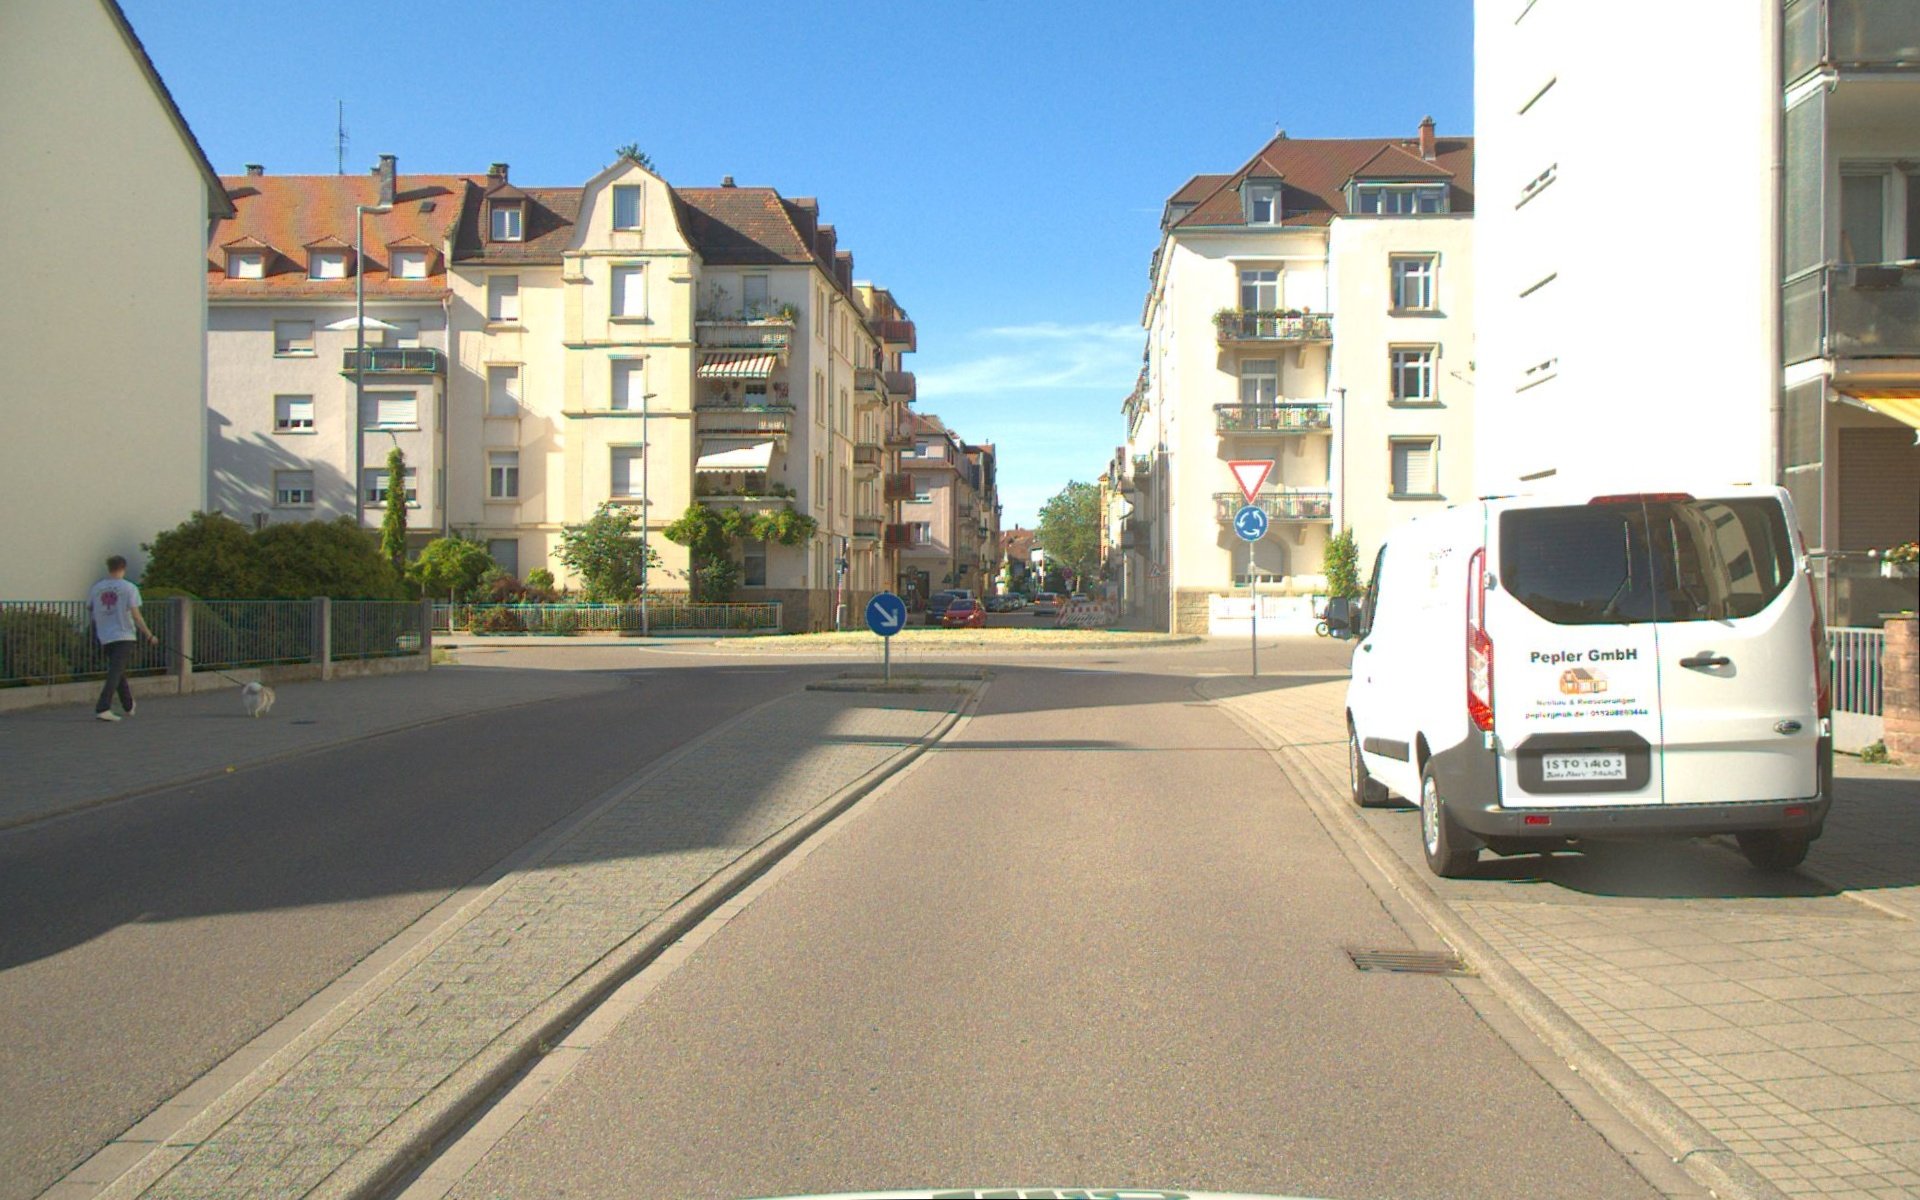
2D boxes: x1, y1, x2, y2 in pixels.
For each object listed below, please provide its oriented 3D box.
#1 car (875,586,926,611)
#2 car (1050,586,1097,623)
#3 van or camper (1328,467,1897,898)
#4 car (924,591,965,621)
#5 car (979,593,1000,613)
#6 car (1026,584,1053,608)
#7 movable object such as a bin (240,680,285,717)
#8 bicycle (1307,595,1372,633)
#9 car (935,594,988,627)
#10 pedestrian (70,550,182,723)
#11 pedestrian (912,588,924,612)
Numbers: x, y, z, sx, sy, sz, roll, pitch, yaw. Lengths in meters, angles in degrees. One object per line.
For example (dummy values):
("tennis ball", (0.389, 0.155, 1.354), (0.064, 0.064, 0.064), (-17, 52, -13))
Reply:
("car", (-4.808, -0.122, 134.134), (3.817, 2.049, 1.765), (0, 0, 11))
("car", (5.935, 0.210, 86.067), (2.380, 1.843, 4.726), (0, 0, 5))
("van or camper", (3.591, 0.390, 10.167), (1.978, 1.981, 4.706), (-2, 0, 6))
("car", (-0.800, 0.304, 87.311), (1.952, 1.559, 4.001), (0, 0, 2))
("car", (2.589, 0.240, 142.667), (1.600, 1.685, 3.673), (0, 0, 4))
("car", (5.903, -0.305, 122.864), (1.952, 1.769, 4.001), (0, 0, 3))
("movable object such as a bin", (-7.531, 1.061, 17.865), (0.215, 0.354, 0.521), (2, 0, 5))
("bicycle", (13.414, 0.504, 58.446), (2.122, 1.291, 0.762), (-1, -3, 21))
("car", (0.099, 0.507, 75.208), (1.703, 1.378, 3.672), (-1, -2, 12))
("pedestrian", (-8.556, 0.379, 16.996), (0.668, 1.733, 0.824), (0, -3, 4))
("pedestrian", (-3.103, -0.014, 122.392), (0.782, 1.781, 0.845), (1, 0, 5))
